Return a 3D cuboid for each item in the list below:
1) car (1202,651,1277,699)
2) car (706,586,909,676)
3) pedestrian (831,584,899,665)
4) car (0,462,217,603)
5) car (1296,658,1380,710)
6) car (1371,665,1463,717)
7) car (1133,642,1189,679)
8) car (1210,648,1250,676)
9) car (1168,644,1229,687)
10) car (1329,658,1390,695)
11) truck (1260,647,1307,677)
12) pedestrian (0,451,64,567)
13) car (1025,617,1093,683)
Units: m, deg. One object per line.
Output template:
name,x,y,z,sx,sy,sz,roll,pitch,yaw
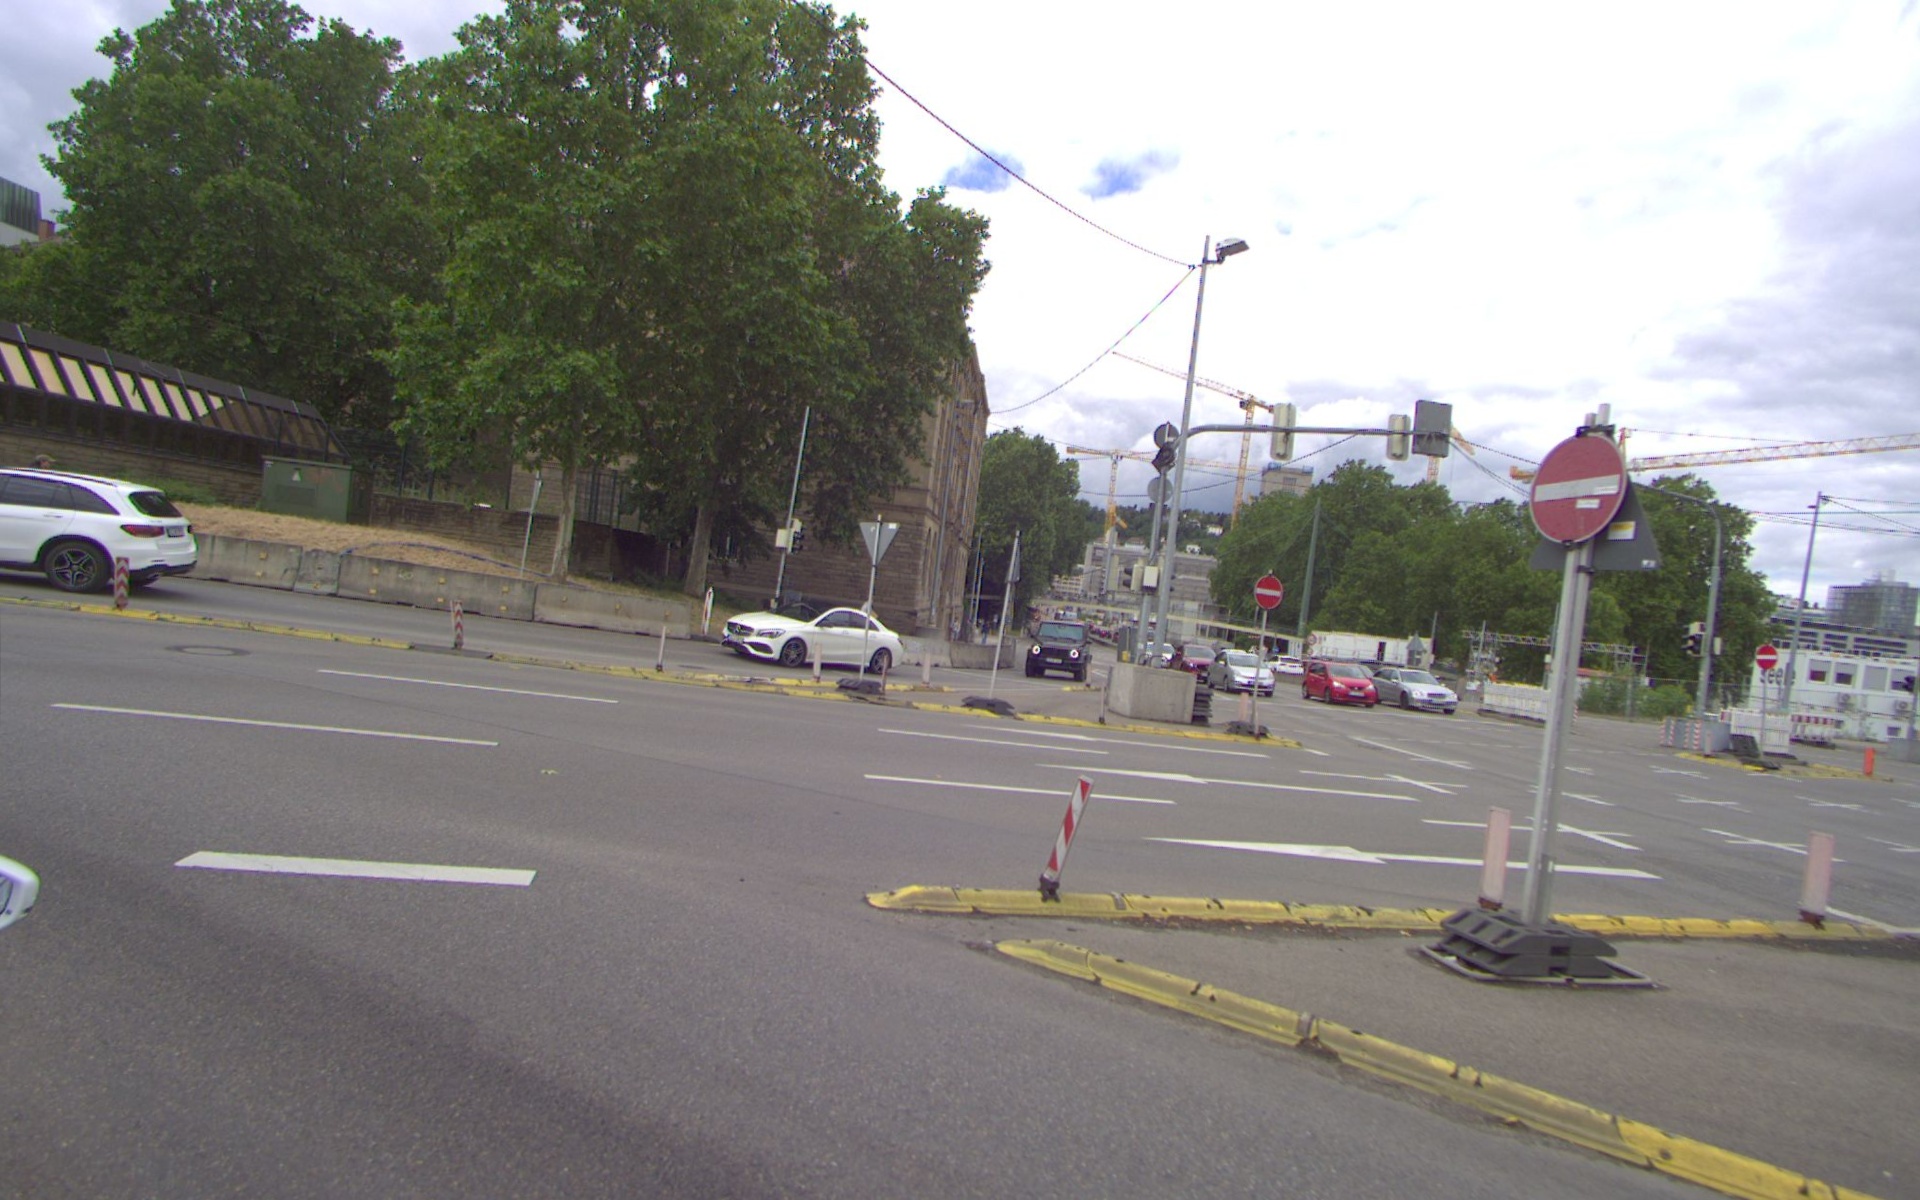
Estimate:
car,10.274,2.732,37.168,1.634,1.452,3.448,5,-2,-1
car,-3.259,0.741,22.324,1.714,1.452,4.368,9,0,37
pedestrian,-2.629,0.681,27.841,1.185,2.039,1.191,7,1,-39
car,-13.913,-1.142,14.647,4.484,1.664,1.809,8,2,-17
car,13.423,2.955,35.918,1.659,1.453,3.447,6,0,1
car,16.301,3.216,36.060,1.662,1.453,3.448,5,-1,1
car,10.213,3.048,51.378,1.804,1.587,4.000,6,-1,-1
car,20.690,4.742,77.250,1.732,1.708,3.641,7,-1,-3
car,10.354,2.828,43.941,1.635,1.453,3.446,8,0,-1
car,22.353,4.263,56.441,1.908,1.687,3.644,7,-1,3
truck,24.140,4.588,75.165,1.906,1.702,4.009,8,1,-2
pedestrian,-17.503,-1.685,18.838,0.842,2.038,0.617,6,1,-32
car,3.439,1.705,34.416,1.901,1.961,3.677,5,-2,9
